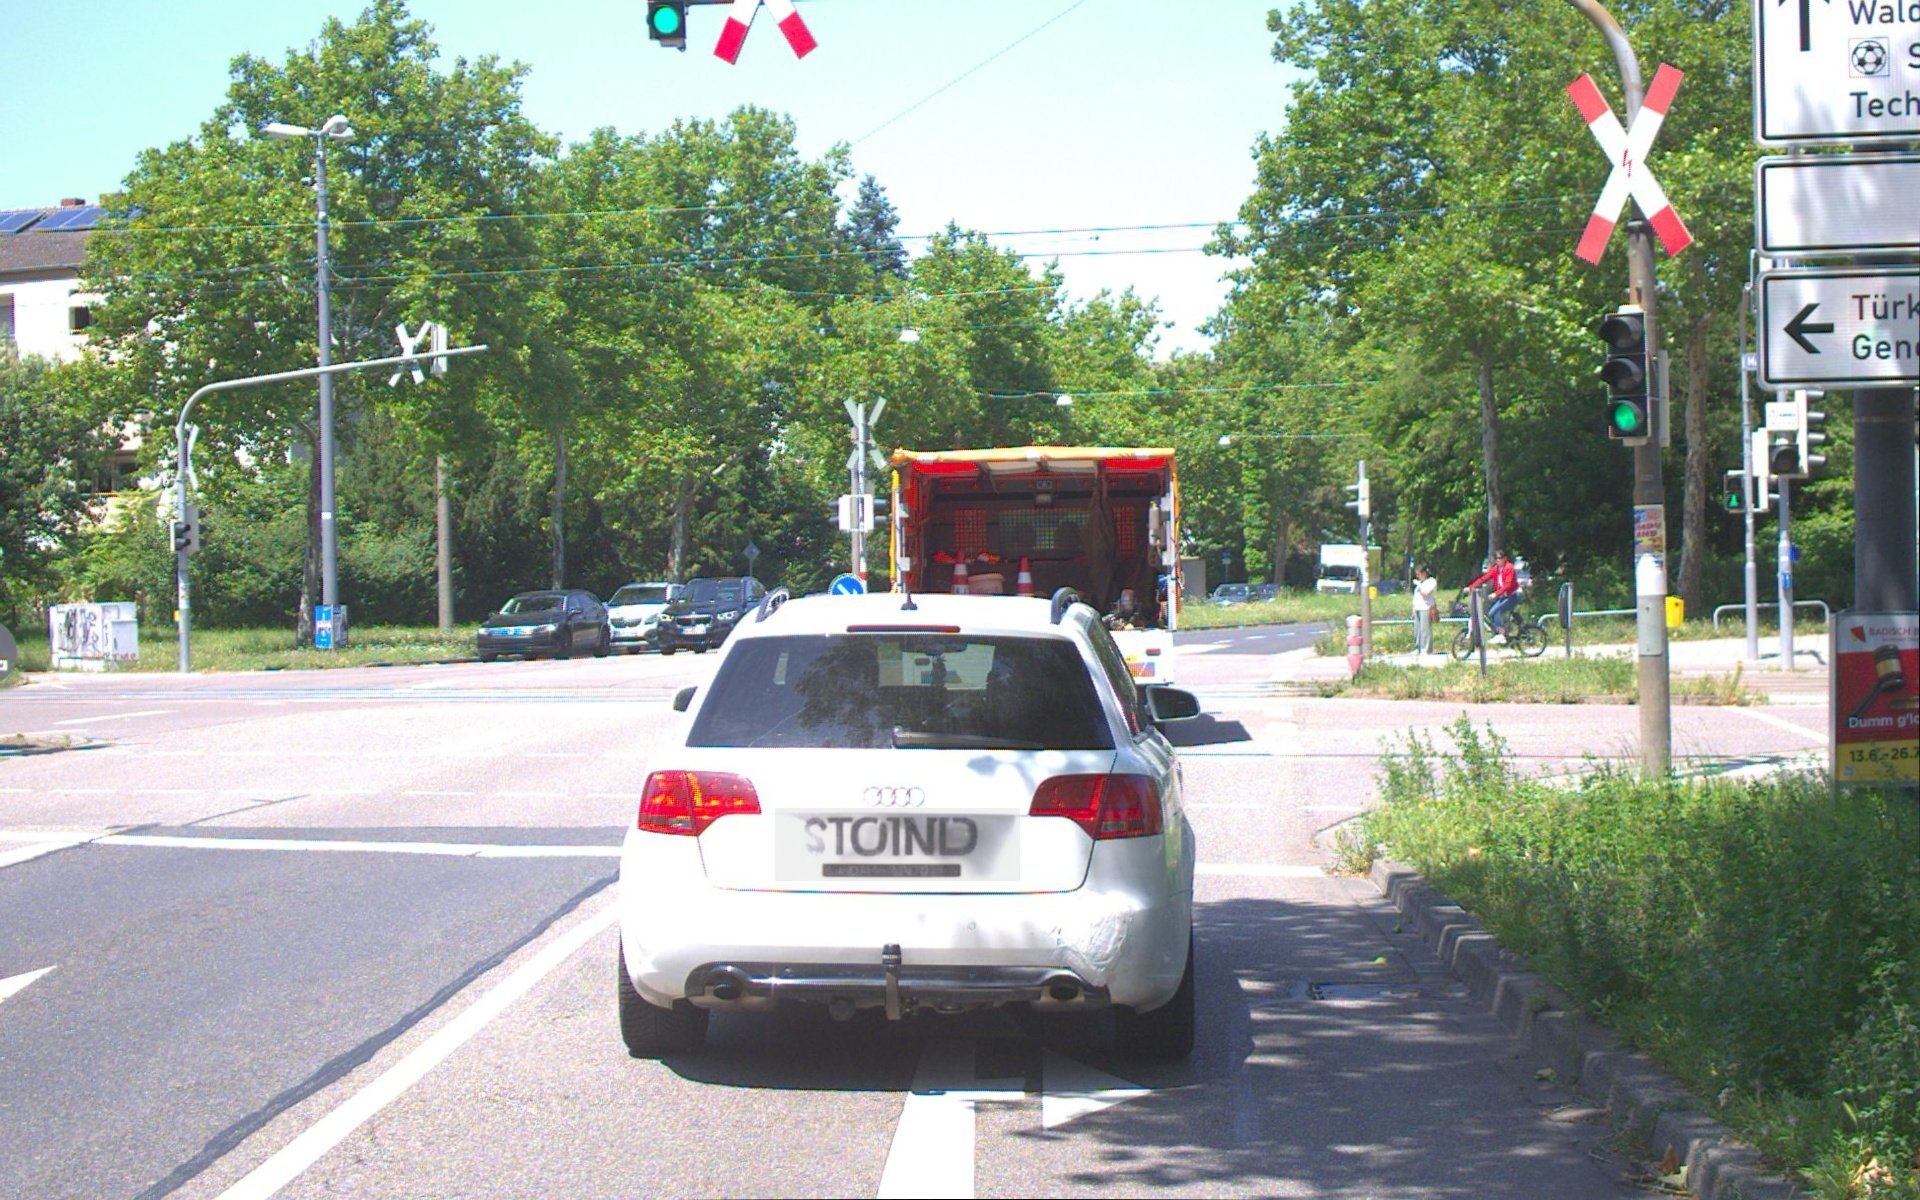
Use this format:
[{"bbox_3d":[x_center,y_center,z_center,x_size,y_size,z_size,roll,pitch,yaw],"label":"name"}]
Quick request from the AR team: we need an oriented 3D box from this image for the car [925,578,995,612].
[{"bbox_3d":[0.005,-0.216,152.648,1.883,1.469,3.996,-1,0,19],"label":"car"}]

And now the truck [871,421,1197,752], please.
[{"bbox_3d":[0.652,-0.121,30.595,2.511,2.551,7.603,1,0,1],"label":"truck"}]

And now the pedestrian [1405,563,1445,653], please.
[{"bbox_3d":[7.721,0.126,57.084,0.553,1.479,0.629,-1,0,16],"label":"pedestrian"}]

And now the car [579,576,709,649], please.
[{"bbox_3d":[-7.259,0.267,79.452,1.788,1.609,4.402,-1,1,11],"label":"car"}]

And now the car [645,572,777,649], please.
[{"bbox_3d":[-5.239,0.198,72.847,1.909,1.533,4.297,-1,1,8],"label":"car"}]

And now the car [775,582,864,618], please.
[{"bbox_3d":[-5.605,-0.006,137.813,1.884,1.388,3.994,-1,0,26],"label":"car"}]

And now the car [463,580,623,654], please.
[{"bbox_3d":[-8.738,0.333,72.456,1.950,1.435,4.744,0,1,11],"label":"car"}]

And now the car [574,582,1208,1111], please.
[{"bbox_3d":[-0.098,0.674,11.369,1.763,1.440,3.615,0,1,3],"label":"car"}]

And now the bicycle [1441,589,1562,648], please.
[{"bbox_3d":[8.585,0.290,54.558,1.805,0.892,0.589,-1,0,-1],"label":"bicycle"}]

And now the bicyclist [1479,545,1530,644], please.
[{"bbox_3d":[8.645,-0.088,54.559,0.671,1.551,0.579,-1,0,-2],"label":"bicyclist"}]

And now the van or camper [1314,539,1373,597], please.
[{"bbox_3d":[22.177,-1.851,198.646,2.662,3.320,5.497,-1,0,14],"label":"van or camper"}]
